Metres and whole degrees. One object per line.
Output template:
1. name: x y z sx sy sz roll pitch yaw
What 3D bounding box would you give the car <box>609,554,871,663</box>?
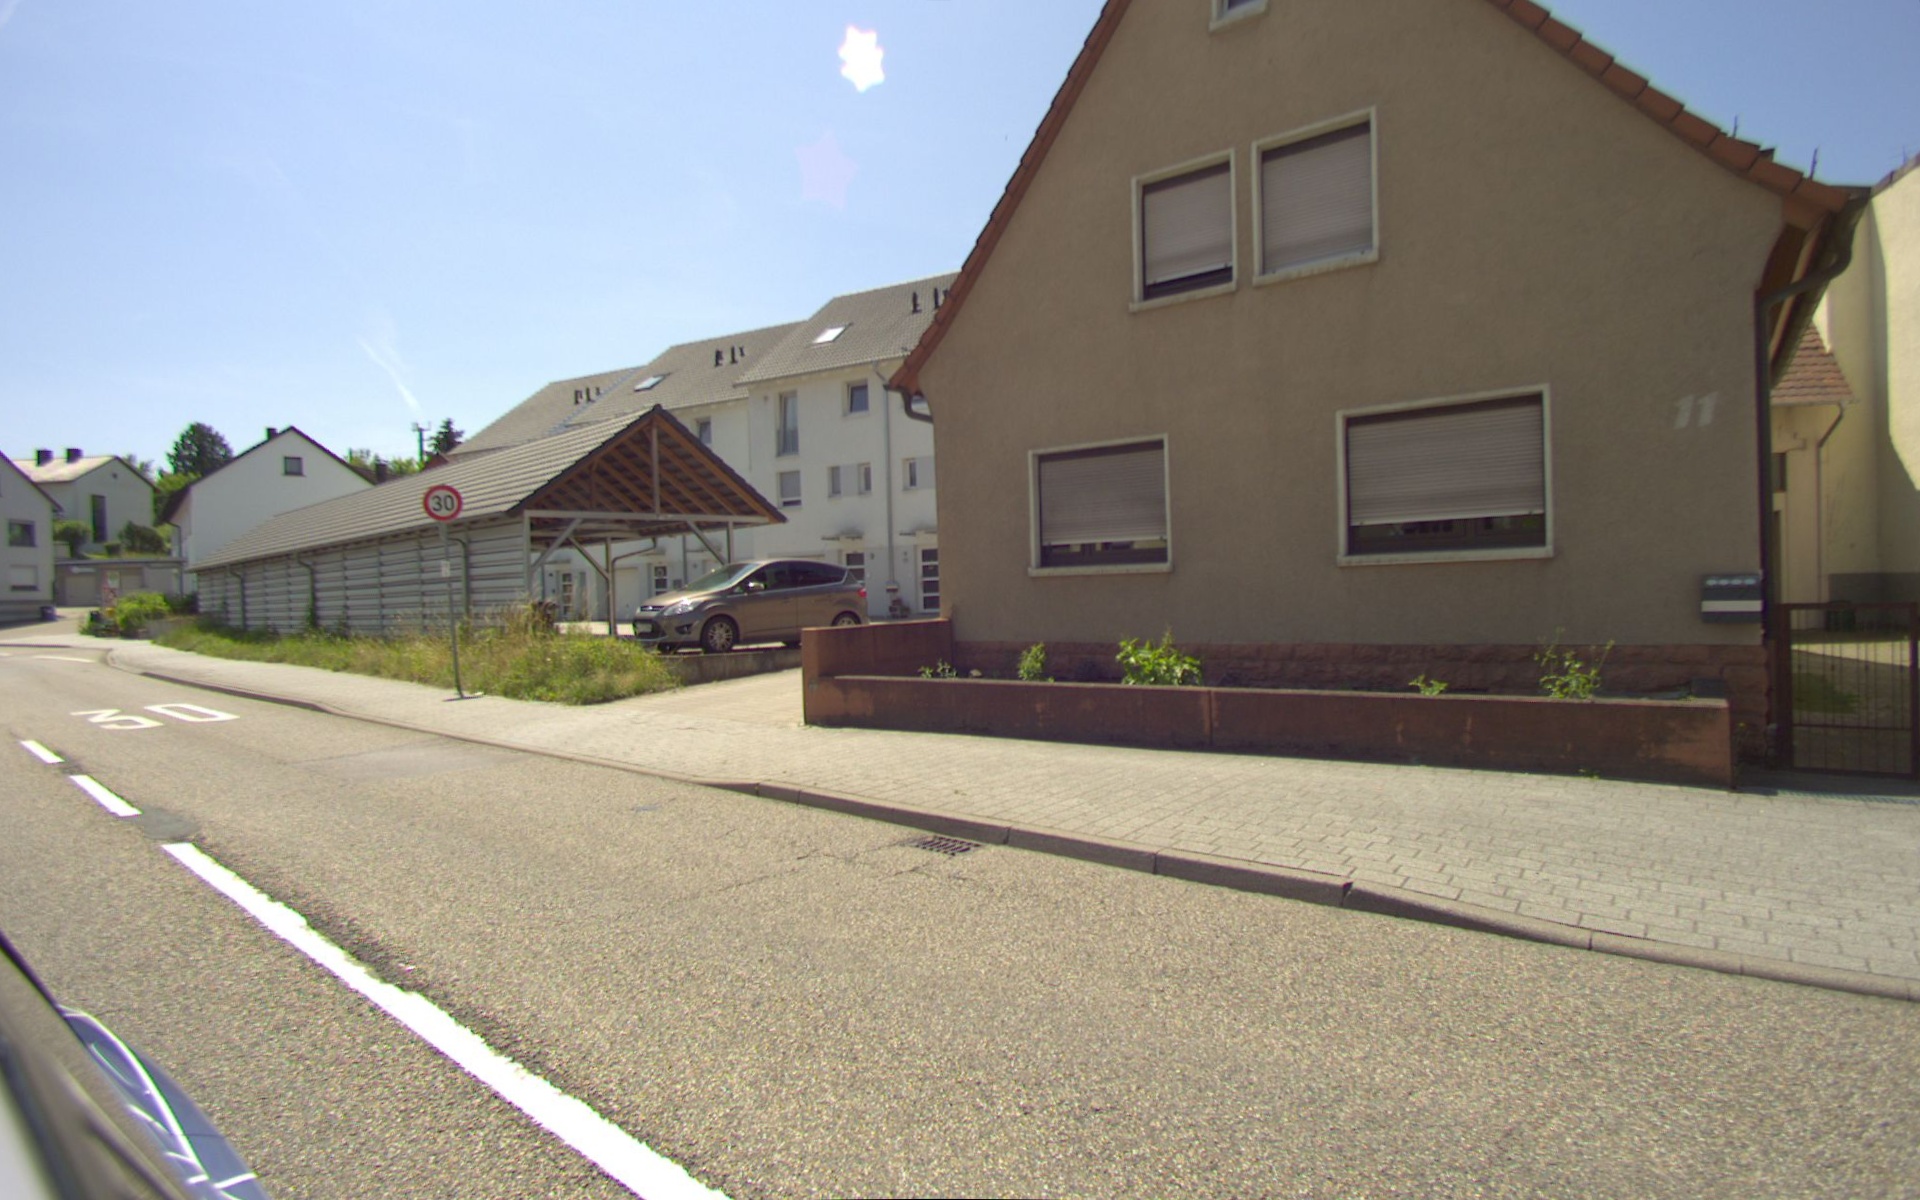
1. car: -3.683 0.101 17.439 1.866 1.650 4.079 -1 0 44

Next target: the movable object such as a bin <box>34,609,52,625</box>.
1. movable object such as a bin: -56.371 1.024 62.210 0.592 0.941 0.600 -2 1 -4
